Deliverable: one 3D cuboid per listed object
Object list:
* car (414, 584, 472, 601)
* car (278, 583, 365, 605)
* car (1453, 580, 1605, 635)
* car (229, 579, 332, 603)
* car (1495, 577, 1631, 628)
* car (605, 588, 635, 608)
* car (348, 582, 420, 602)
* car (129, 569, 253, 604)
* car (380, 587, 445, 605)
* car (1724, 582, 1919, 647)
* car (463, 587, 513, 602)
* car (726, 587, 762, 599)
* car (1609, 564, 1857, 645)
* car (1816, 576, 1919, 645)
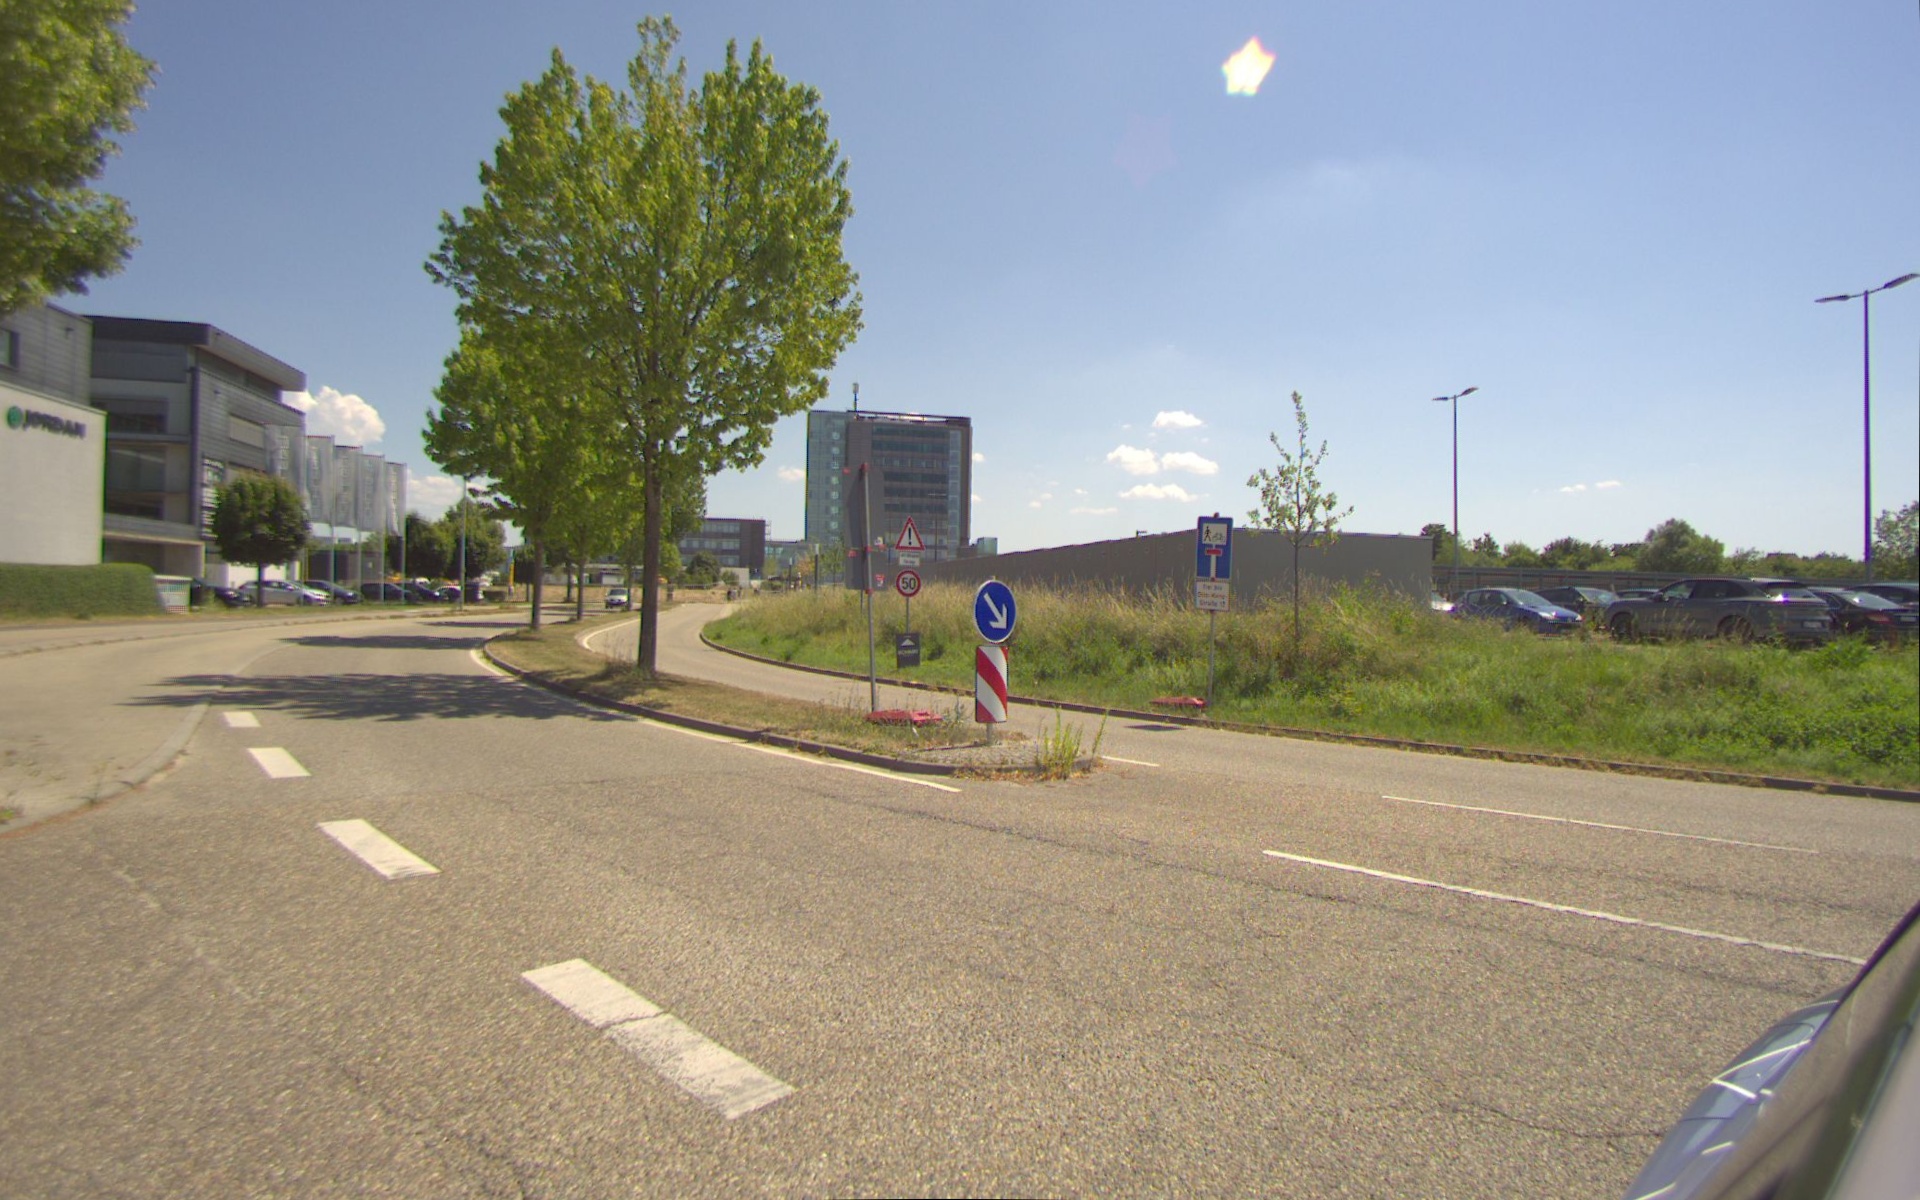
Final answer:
[{"bbox_3d":[-41.731,-0.628,81.754,3.811,1.290,1.709,0,1,-13],"label":"car"},{"bbox_3d":[-36.211,-0.362,57.461,3.811,1.197,1.709,0,1,-13],"label":"car"},{"bbox_3d":[16.360,0.178,29.285,1.618,1.464,3.647,1,1,-20],"label":"car"},{"bbox_3d":[-35.118,-0.465,52.412,4.187,1.198,1.496,0,-2,-13],"label":"car"},{"bbox_3d":[18.867,0.037,31.845,1.565,1.518,3.647,0,1,-14],"label":"car"},{"bbox_3d":[-26.839,-0.143,79.971,1.645,1.524,3.577,-1,-2,-9],"label":"car"},{"bbox_3d":[-37.990,-0.512,66.855,3.811,1.290,1.709,0,1,-13],"label":"car"},{"bbox_3d":[-32.631,-0.575,43.054,3.836,1.396,1.709,0,1,-13],"label":"car"},{"bbox_3d":[-39.610,-0.283,73.319,3.811,1.290,1.709,0,1,-13],"label":"car"},{"bbox_3d":[20.689,0.283,24.042,1.618,1.379,3.857,0,1,-14],"label":"car"},{"bbox_3d":[-42.413,-0.510,90.995,3.764,1.290,1.613,0,1,-13],"label":"car"},{"bbox_3d":[-23.749,-0.766,111.145,3.764,1.290,1.613,0,1,-13],"label":"car"},{"bbox_3d":[18.161,0.120,24.095,1.740,1.712,4.613,2,-1,-14],"label":"car"},{"bbox_3d":[23.417,0.237,24.580,1.732,1.617,3.648,0,1,-14],"label":"car"}]
